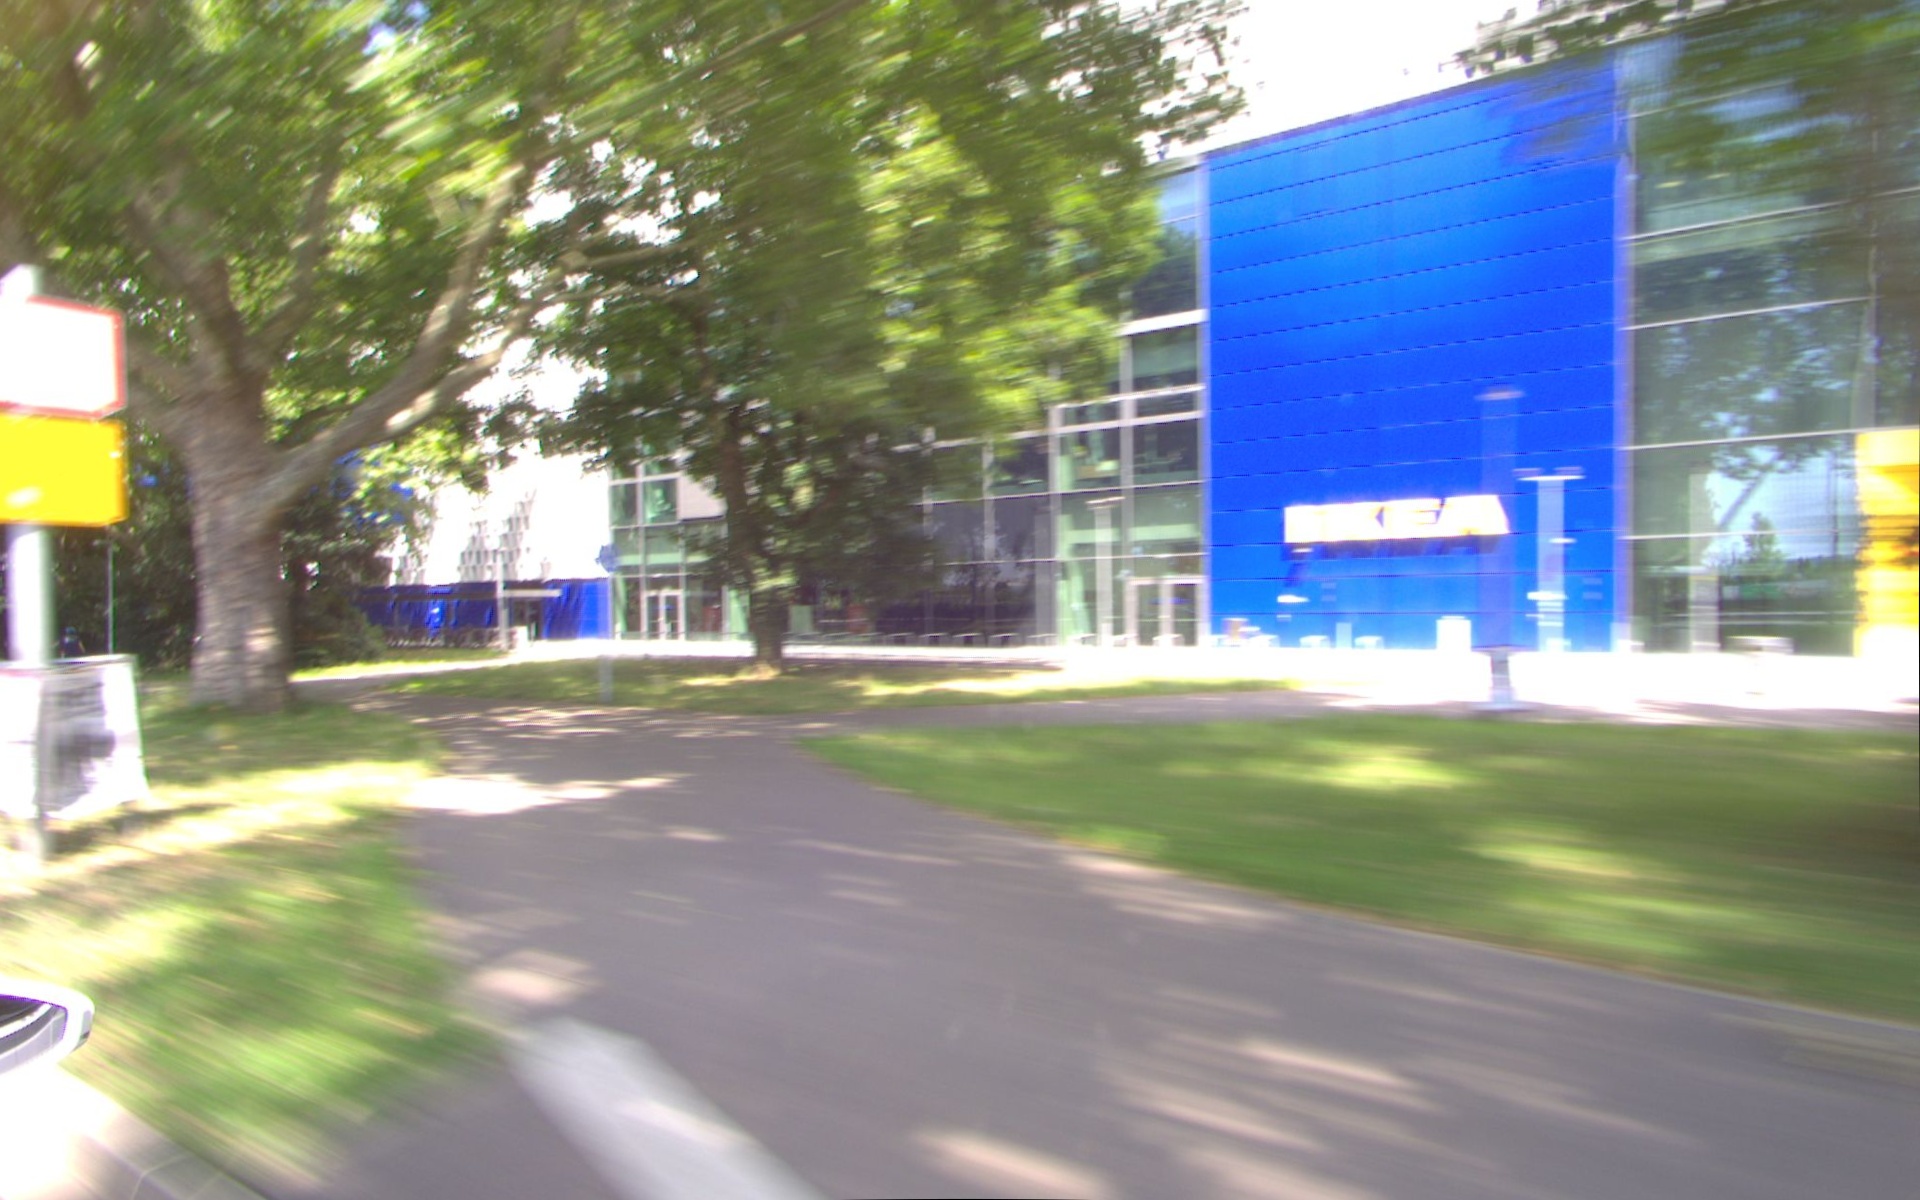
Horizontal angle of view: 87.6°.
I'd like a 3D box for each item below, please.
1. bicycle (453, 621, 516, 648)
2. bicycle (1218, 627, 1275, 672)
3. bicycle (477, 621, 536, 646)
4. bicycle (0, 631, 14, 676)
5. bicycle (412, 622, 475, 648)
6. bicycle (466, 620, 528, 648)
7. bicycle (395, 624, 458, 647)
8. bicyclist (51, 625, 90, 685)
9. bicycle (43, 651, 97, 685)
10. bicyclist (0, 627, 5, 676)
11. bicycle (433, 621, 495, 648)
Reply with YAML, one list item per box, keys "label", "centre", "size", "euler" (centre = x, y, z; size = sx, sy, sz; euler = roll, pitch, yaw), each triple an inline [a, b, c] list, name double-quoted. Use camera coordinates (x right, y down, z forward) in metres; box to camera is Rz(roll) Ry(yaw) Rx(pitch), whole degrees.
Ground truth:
- label: "bicycle"
  centre: [-20.950, 1.492, 44.164]
  size: [0.747, 1.125, 2.543]
  euler: [-1, -1, 28]
- label: "bicycle"
  centre: [6.751, 1.149, 23.510]
  size: [0.855, 0.981, 2.058]
  euler: [-1, -1, 29]
- label: "bicycle"
  centre: [-19.368, 1.421, 42.831]
  size: [0.747, 0.973, 2.314]
  euler: [-1, -1, 28]
- label: "bicycle"
  centre: [-32.113, 1.769, 33.071]
  size: [2.624, 1.438, 0.609]
  euler: [-1, 0, 33]
- label: "bicycle"
  centre: [-23.259, 1.560, 45.123]
  size: [0.747, 1.125, 2.543]
  euler: [-1, -1, 28]
- label: "bicycle"
  centre: [-20.158, 1.466, 43.673]
  size: [0.747, 1.125, 2.543]
  euler: [-1, -1, 28]
- label: "bicycle"
  centre: [-24.340, 1.600, 45.756]
  size: [0.747, 0.983, 2.543]
  euler: [-1, -1, 28]
- label: "bicyclist"
  centre: [-24.783, 1.519, 27.899]
  size: [0.805, 1.631, 0.621]
  euler: [-1, 0, 34]
- label: "bicycle"
  centre: [-24.846, 1.891, 27.939]
  size: [1.995, 0.898, 0.644]
  euler: [-2, -1, 34]
- label: "bicyclist"
  centre: [-32.212, 1.712, 33.144]
  size: [1.038, 1.620, 0.657]
  euler: [-1, 0, 33]
- label: "bicycle"
  centre: [-22.001, 1.518, 44.481]
  size: [0.747, 1.125, 2.543]
  euler: [-1, -1, 28]
